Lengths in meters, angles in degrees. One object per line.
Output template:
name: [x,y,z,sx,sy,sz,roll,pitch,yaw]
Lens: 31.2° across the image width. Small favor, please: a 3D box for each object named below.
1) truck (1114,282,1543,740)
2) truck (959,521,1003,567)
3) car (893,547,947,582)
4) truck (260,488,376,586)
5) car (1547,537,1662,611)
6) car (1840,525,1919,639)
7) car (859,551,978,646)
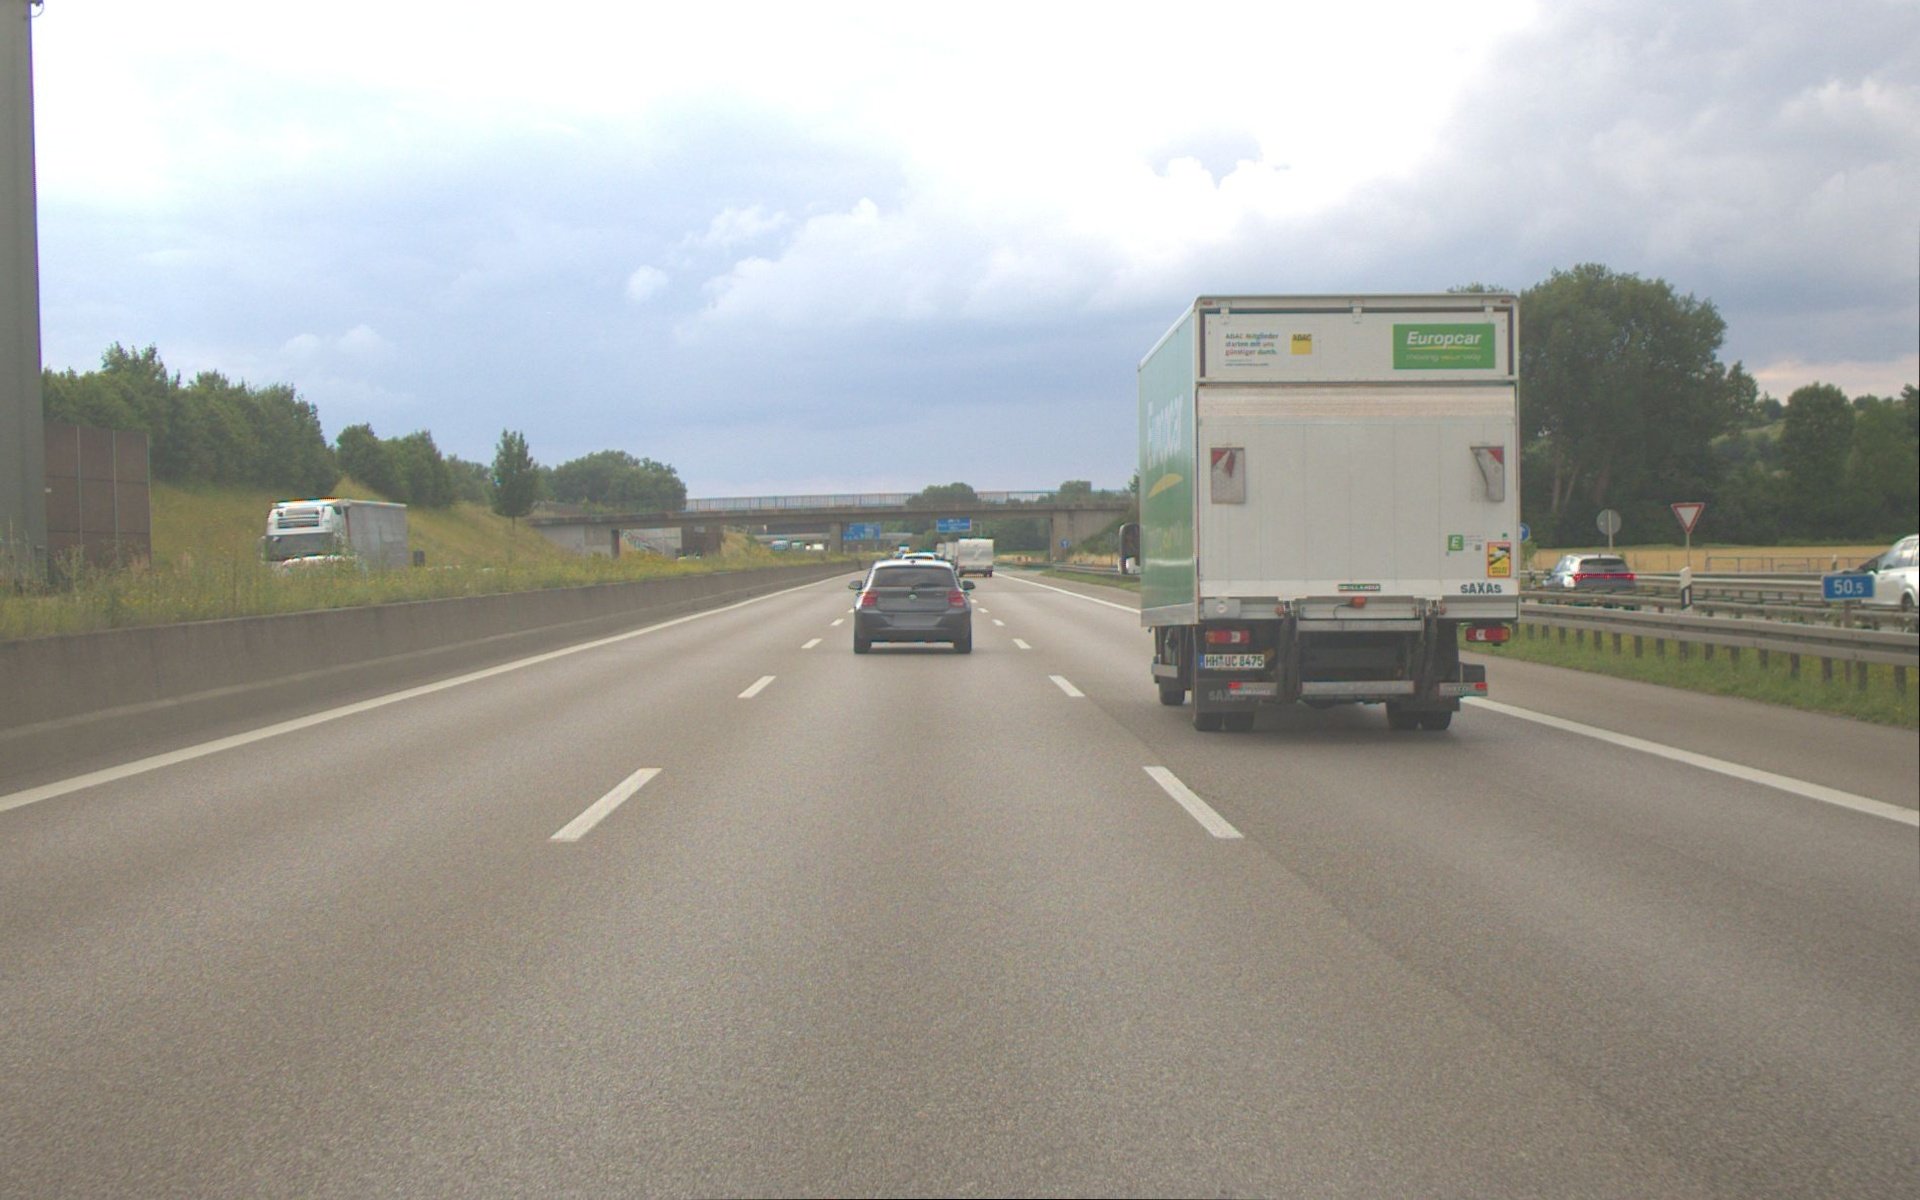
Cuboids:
truck: [3.024,-0.754,30.863,2.770,3.492,9.062,0,1,-1]
truck: [1.382,-3.718,231.455,2.710,2.954,12.447,1,1,-1]
car: [-1.563,-1.381,133.261,1.993,1.294,4.000,-2,1,-1]
truck: [-21.747,-2.128,116.669,2.824,3.216,5.981,-1,1,-1]
car: [15.960,-0.665,85.384,1.828,1.751,5.066,-1,1,-1]
car: [15.770,-0.328,55.376,1.828,1.751,5.066,-1,1,-1]
car: [-0.630,-0.050,52.561,1.743,1.384,4.000,0,1,-1]
